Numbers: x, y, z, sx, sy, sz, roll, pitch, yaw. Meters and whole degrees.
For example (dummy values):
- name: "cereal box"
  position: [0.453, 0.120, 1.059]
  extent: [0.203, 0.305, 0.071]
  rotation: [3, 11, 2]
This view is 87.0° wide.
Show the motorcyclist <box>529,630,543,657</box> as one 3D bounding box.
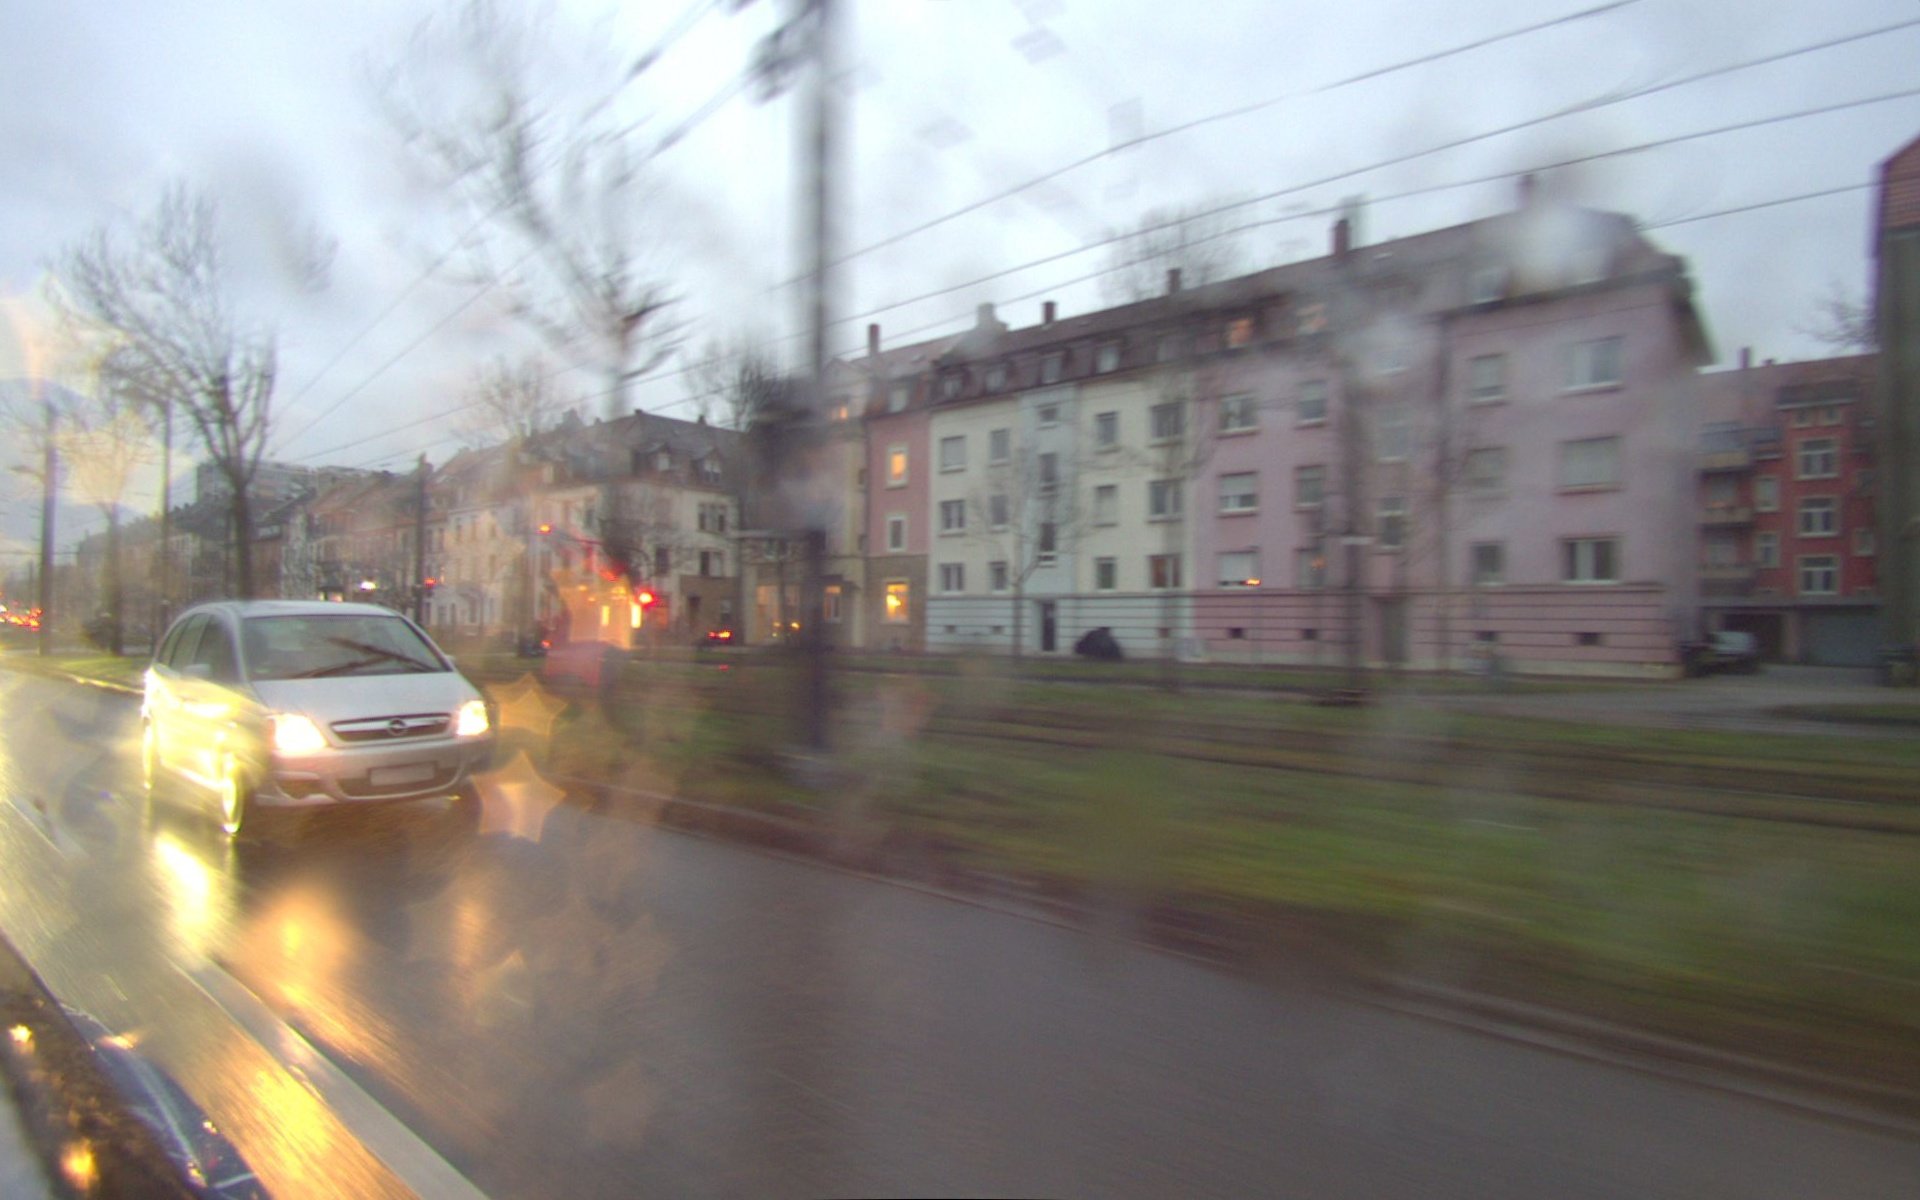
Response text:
- name: "motorcyclist"
  position: [-17.179, 1.742, 41.010]
  extent: [0.410, 1.069, 0.346]
  rotation: [0, 0, -42]

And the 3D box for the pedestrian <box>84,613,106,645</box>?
- name: "pedestrian"
  position: [-31.912, 1.053, 37.340]
  extent: [0.582, 1.165, 0.555]
  rotation: [-1, 0, 43]

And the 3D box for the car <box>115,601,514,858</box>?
- name: "car"
  position: [-5.225, 0.797, 7.982]
  extent: [3.905, 1.531, 1.617]
  rotation: [-1, 0, 41]

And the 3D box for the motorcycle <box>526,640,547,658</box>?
- name: "motorcycle"
  position: [-17.136, 1.972, 40.954]
  extent: [0.416, 0.688, 1.177]
  rotation: [0, 0, -42]

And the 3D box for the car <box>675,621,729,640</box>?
- name: "car"
  position: [-16.751, 1.952, 65.791]
  extent: [1.253, 1.146, 3.285]
  rotation: [-1, 0, 40]

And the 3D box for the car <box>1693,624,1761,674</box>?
- name: "car"
  position: [26.991, 1.675, 35.587]
  extent: [1.611, 1.555, 3.318]
  rotation: [-1, 0, 42]

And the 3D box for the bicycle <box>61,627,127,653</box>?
- name: "bicycle"
  position: [-31.933, 1.493, 37.331]
  extent: [0.733, 0.905, 1.703]
  rotation: [0, -3, 41]
